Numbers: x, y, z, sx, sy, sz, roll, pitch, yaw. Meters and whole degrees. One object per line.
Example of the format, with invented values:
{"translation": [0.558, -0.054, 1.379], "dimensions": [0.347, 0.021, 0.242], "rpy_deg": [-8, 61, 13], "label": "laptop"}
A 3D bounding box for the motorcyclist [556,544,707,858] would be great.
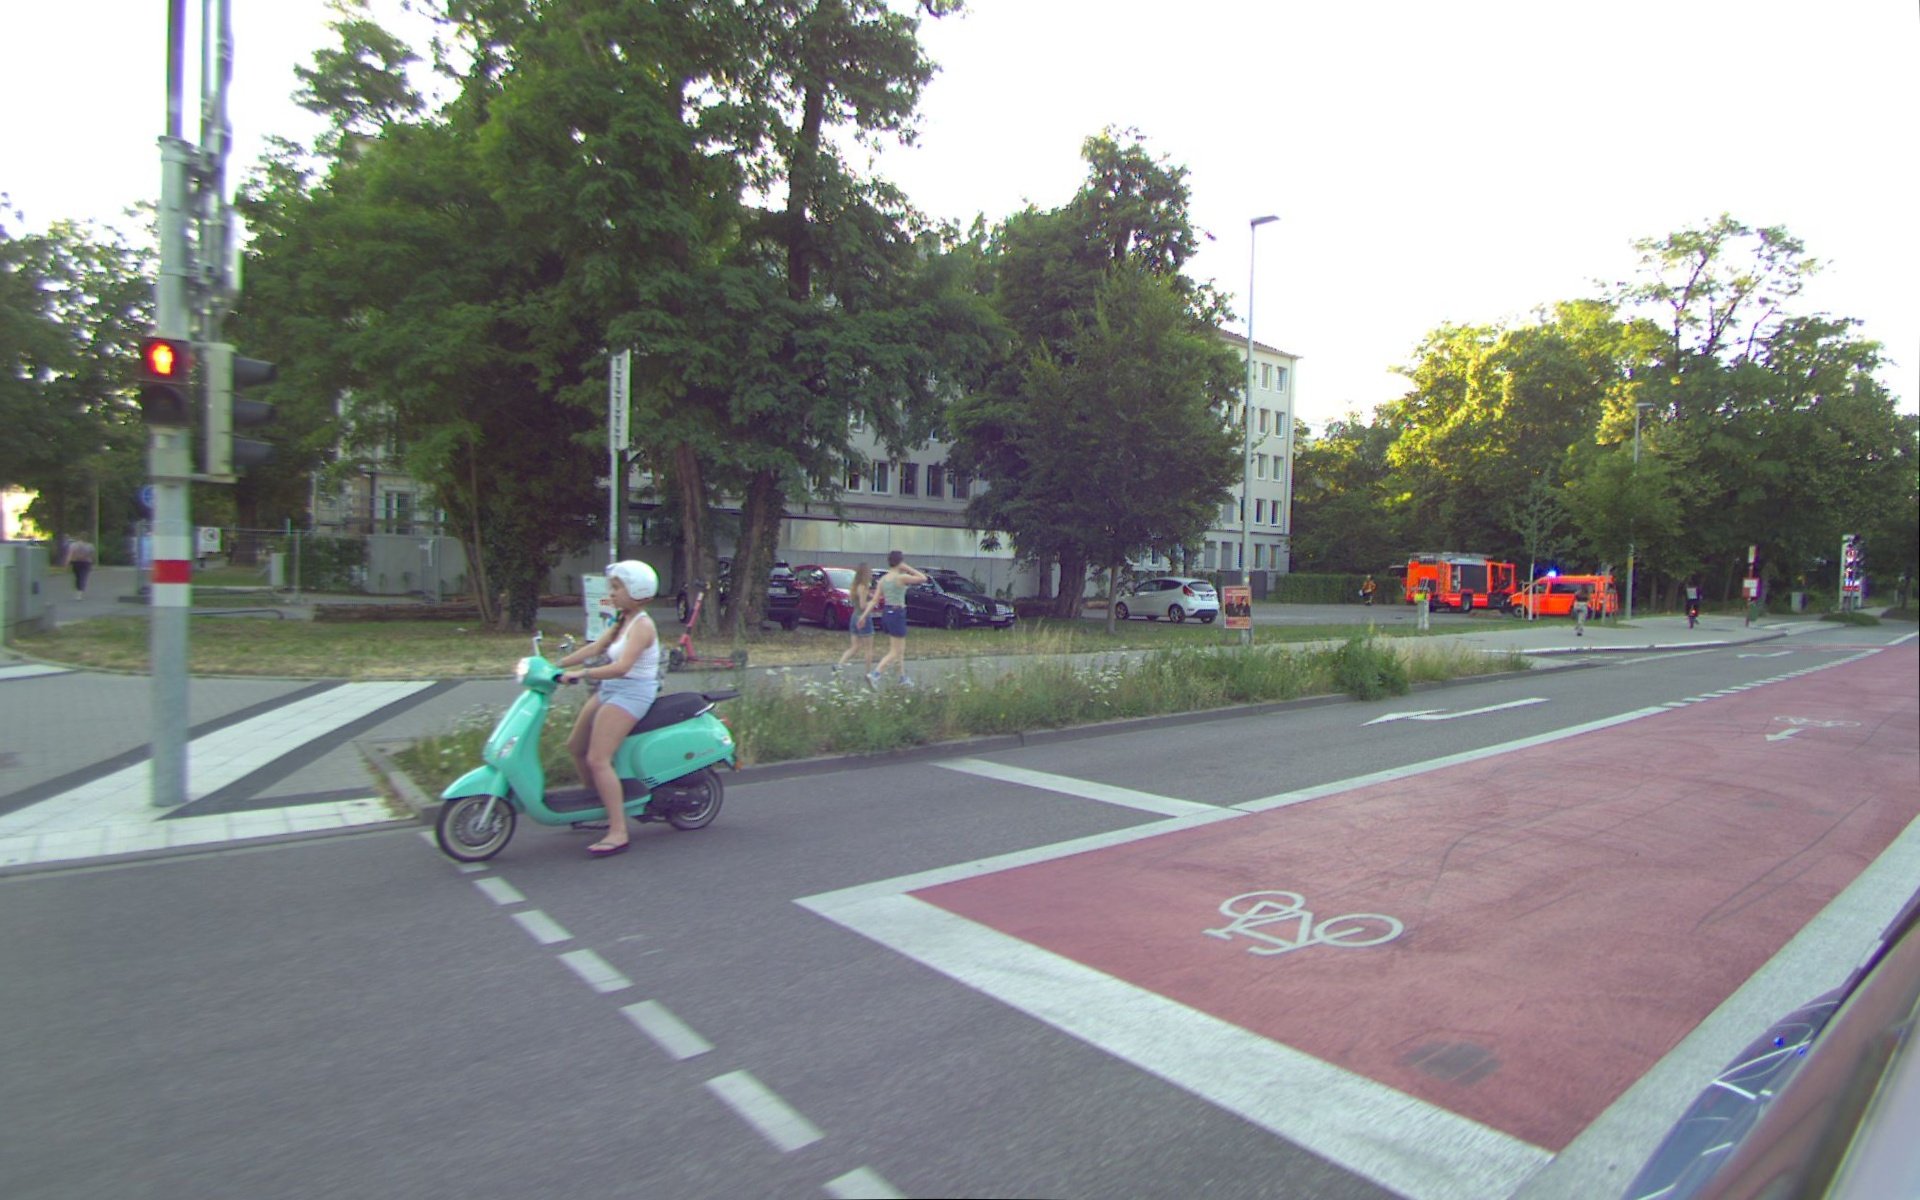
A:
{"translation": [-2.010, 0.555, 6.162], "dimensions": [0.677, 1.758, 0.741], "rpy_deg": [0, 1, -34], "label": "motorcyclist"}

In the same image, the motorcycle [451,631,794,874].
{"translation": [-2.015, 0.832, 6.160], "dimensions": [1.857, 1.212, 0.684], "rpy_deg": [0, 1, -35], "label": "motorcycle"}

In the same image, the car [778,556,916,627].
{"translation": [-2.978, -0.273, 25.876], "dimensions": [1.882, 1.630, 4.003], "rpy_deg": [0, 3, -33], "label": "car"}

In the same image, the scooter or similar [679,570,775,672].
{"translation": [-3.072, 0.262, 13.403], "dimensions": [1.159, 1.287, 0.441], "rpy_deg": [-1, 2, -41], "label": "scooter or similar"}

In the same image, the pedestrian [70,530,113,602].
{"translation": [-21.742, -0.856, 25.349], "dimensions": [0.690, 1.760, 0.897], "rpy_deg": [0, 2, -32], "label": "pedestrian"}

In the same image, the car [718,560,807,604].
{"translation": [-7.279, -0.700, 37.055], "dimensions": [1.738, 1.477, 3.626], "rpy_deg": [0, 3, -38], "label": "car"}

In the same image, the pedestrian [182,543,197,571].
{"translation": [-46.614, -2.593, 61.230], "dimensions": [0.670, 1.642, 0.688], "rpy_deg": [0, 2, -36], "label": "pedestrian"}

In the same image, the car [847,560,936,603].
{"translation": [-2.771, -0.751, 40.041], "dimensions": [1.880, 1.540, 3.921], "rpy_deg": [0, 3, -32], "label": "car"}

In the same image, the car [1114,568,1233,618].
{"translation": [6.943, -0.267, 33.151], "dimensions": [1.633, 1.477, 3.667], "rpy_deg": [0, 3, -35], "label": "car"}

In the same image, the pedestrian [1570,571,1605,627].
{"translation": [18.870, -0.028, 30.431], "dimensions": [0.676, 1.642, 0.682], "rpy_deg": [1, 2, -41], "label": "pedestrian"}

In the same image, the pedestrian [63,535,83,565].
{"translation": [-48.576, -2.742, 55.424], "dimensions": [0.674, 1.642, 0.684], "rpy_deg": [0, 2, -28], "label": "pedestrian"}

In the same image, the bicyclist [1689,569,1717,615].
{"translation": [27.526, -0.309, 37.500], "dimensions": [1.020, 1.652, 0.571], "rpy_deg": [0, 2, -41], "label": "bicyclist"}

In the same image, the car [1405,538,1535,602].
{"translation": [28.213, -1.632, 55.866], "dimensions": [8.138, 3.283, 2.775], "rpy_deg": [0, 2, -34], "label": "car"}

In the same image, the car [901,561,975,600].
{"translation": [-0.955, -0.806, 41.438], "dimensions": [1.734, 1.477, 3.320], "rpy_deg": [0, 3, -27], "label": "car"}

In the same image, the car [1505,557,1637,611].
{"translation": [30.029, -0.838, 49.906], "dimensions": [1.963, 2.422, 5.168], "rpy_deg": [0, 3, -37], "label": "car"}

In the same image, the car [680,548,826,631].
{"translation": [-5.044, -0.319, 24.219], "dimensions": [1.882, 1.761, 4.241], "rpy_deg": [0, 3, -35], "label": "car"}

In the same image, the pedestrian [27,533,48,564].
{"translation": [-49.632, -2.792, 54.469], "dimensions": [0.674, 1.642, 0.684], "rpy_deg": [0, 2, -28], "label": "pedestrian"}

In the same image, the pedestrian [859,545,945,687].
{"translation": [-0.717, 0.173, 12.486], "dimensions": [0.763, 1.680, 0.721], "rpy_deg": [0, 2, -40], "label": "pedestrian"}

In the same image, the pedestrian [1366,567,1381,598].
{"translation": [25.078, -1.058, 61.340], "dimensions": [0.673, 1.864, 0.842], "rpy_deg": [2, 1, 15], "label": "pedestrian"}

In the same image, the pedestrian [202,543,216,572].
{"translation": [-43.380, -2.462, 58.450], "dimensions": [0.670, 1.642, 0.688], "rpy_deg": [0, 2, -36], "label": "pedestrian"}

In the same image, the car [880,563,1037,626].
{"translation": [-0.137, -0.200, 27.346], "dimensions": [1.884, 1.482, 4.519], "rpy_deg": [0, 3, -37], "label": "car"}

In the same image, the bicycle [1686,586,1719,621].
{"translation": [27.564, 0.101, 37.552], "dimensions": [1.866, 1.256, 0.571], "rpy_deg": [-1, 3, -41], "label": "bicycle"}

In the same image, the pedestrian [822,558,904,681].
{"translation": [-1.268, 0.229, 13.208], "dimensions": [0.775, 1.541, 0.737], "rpy_deg": [0, 2, -39], "label": "pedestrian"}
